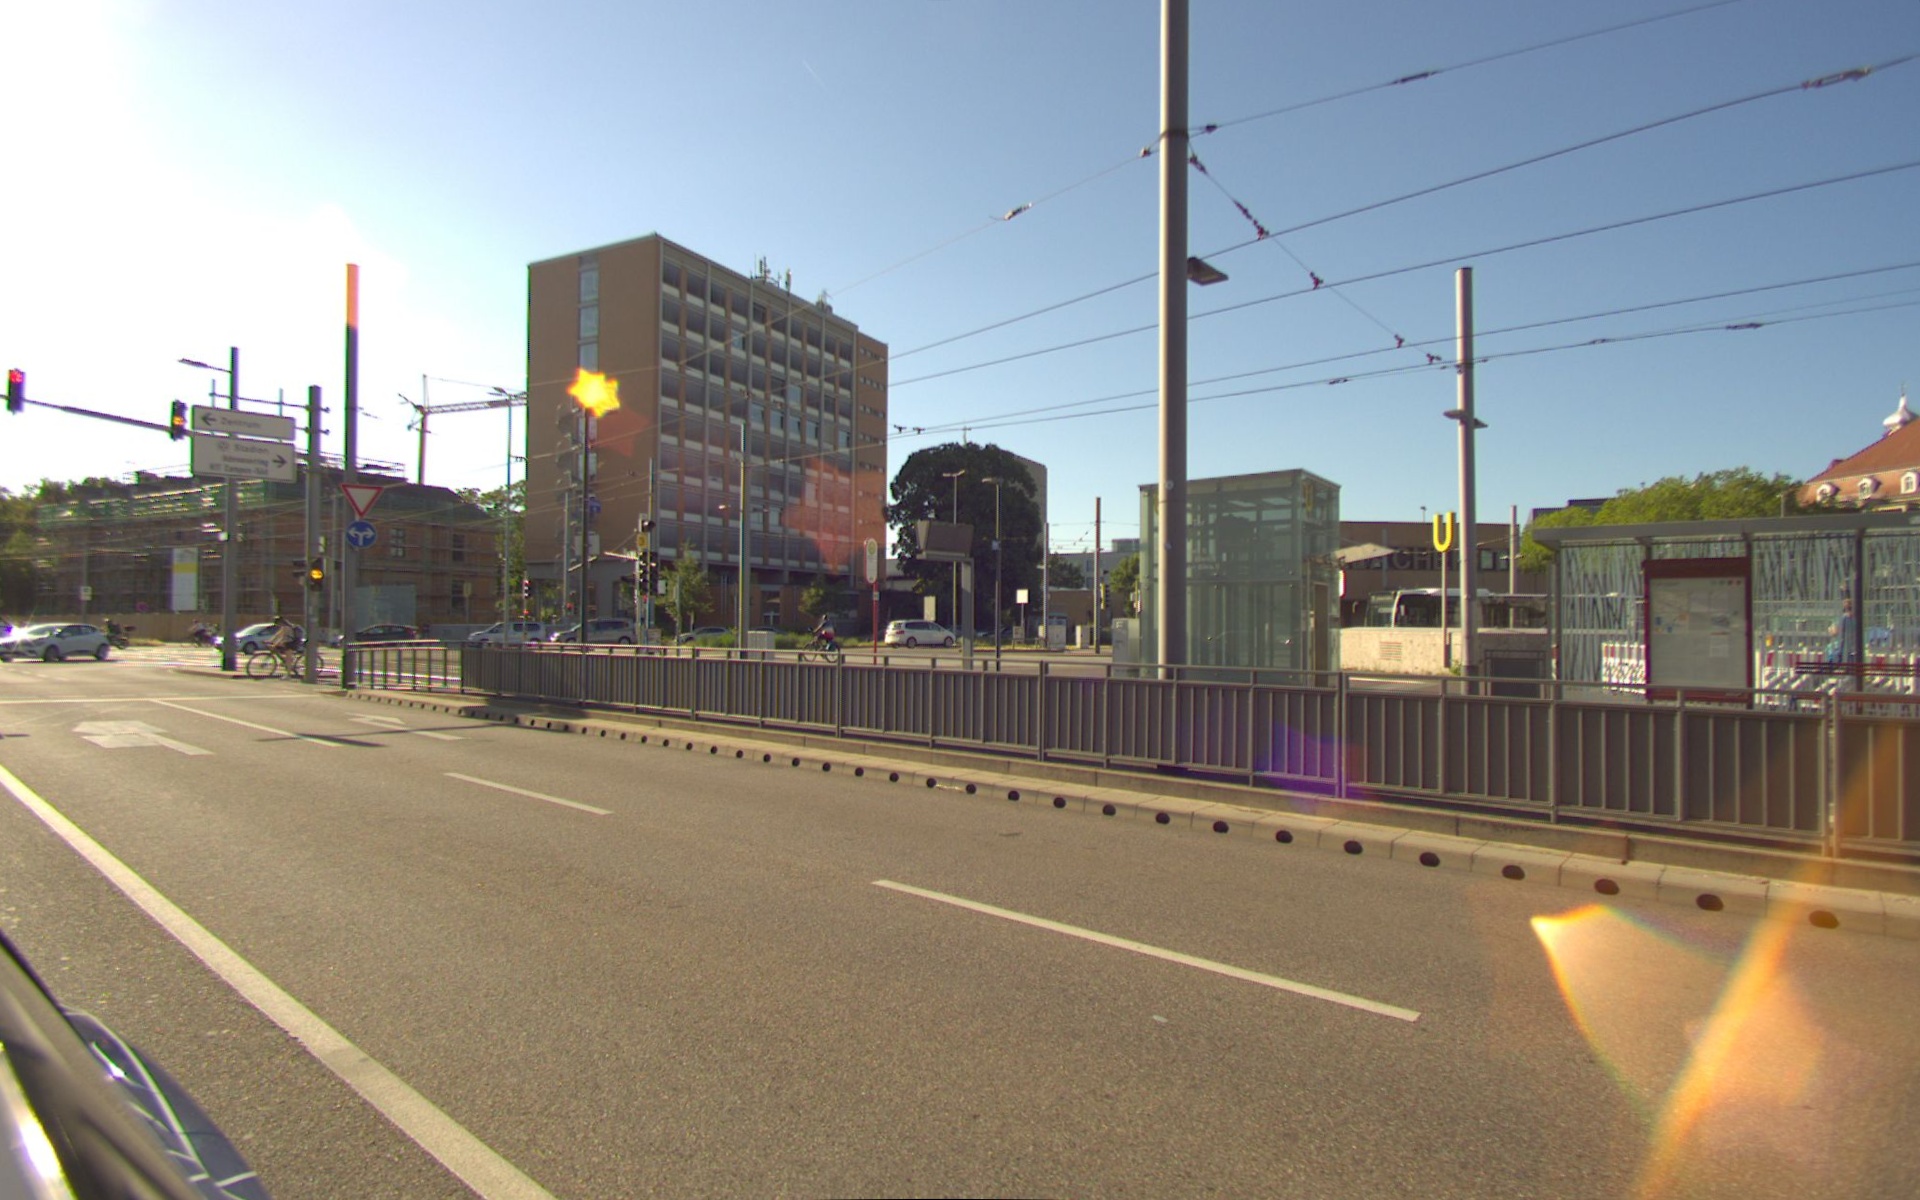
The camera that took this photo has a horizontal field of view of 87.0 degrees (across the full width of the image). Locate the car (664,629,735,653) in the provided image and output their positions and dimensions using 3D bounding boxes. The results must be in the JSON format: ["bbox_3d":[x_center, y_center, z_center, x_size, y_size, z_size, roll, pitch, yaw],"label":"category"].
[{"bbox_3d":[-19.010,3.015,73.869,4.628,1.697,2.005,2,-5,-34],"label":"car"}]

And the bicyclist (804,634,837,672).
[{"bbox_3d":[-5.231,1.986,37.913,0.897,1.354,0.808,-1,1,27],"label":"bicyclist"}]

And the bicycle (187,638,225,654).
[{"bbox_3d":[-49.157,2.984,65.986,1.847,0.977,0.714,2,0,-20],"label":"bicycle"}]

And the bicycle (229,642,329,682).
[{"bbox_3d":[-16.998,1.536,25.302,0.814,0.949,1.872,-1,-3,36],"label":"bicycle"}]

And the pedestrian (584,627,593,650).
[{"bbox_3d":[-27.371,2.844,74.602,0.496,1.648,0.428,3,-6,-42],"label":"pedestrian"}]

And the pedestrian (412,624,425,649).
[{"bbox_3d":[-38.655,2.607,72.226,0.612,1.752,0.666,1,-1,-7],"label":"pedestrian"}]

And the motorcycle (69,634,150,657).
[{"bbox_3d":[-46.496,2.496,55.399,3.177,1.204,1.121,1,-5,-28],"label":"motorcycle"}]

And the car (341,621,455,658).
[{"bbox_3d":[-32.622,2.299,58.815,5.668,2.029,2.006,1,-5,-31],"label":"car"}]

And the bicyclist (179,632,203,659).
[{"bbox_3d":[-48.295,2.840,63.535,0.999,1.599,0.696,2,0,-20],"label":"bicyclist"}]

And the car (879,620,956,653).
[{"bbox_3d":[-2.610,2.283,62.284,4.392,1.747,1.945,5,-6,-38],"label":"car"}]

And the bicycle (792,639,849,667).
[{"bbox_3d":[-5.230,1.986,37.918,1.992,0.949,0.808,0,1,27],"label":"bicycle"}]

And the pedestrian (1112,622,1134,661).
[{"bbox_3d":[7.422,1.901,46.035,0.724,1.699,1.048,-3,-5,23],"label":"pedestrian"}]

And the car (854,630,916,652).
[{"bbox_3d":[-6.044,3.367,82.098,4.628,1.697,2.005,2,-5,-35],"label":"car"}]

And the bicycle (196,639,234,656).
[{"bbox_3d":[-48.150,3.081,65.430,1.847,0.977,0.714,2,0,-22],"label":"bicycle"}]

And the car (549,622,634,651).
[{"bbox_3d":[-22.392,2.198,61.496,4.538,1.701,2.006,1,-2,-29],"label":"car"}]

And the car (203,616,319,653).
[{"bbox_3d":[-33.572,1.653,48.739,1.985,1.689,4.254,0,-2,20],"label":"car"}]

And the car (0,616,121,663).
[{"bbox_3d":[-34.744,1.480,38.682,1.970,1.689,4.287,0,-2,-5],"label":"car"}]

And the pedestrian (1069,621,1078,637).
[{"bbox_3d":[11.691,3.001,104.332,0.582,1.674,0.567,2,-5,-35],"label":"pedestrian"}]

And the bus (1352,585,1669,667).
[{"bbox_3d":[23.877,1.159,44.159,12.466,3.219,2.845,-1,-4,-5],"label":"bus"}]

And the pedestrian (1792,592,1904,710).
[{"bbox_3d":[13.964,0.815,15.956,1.179,1.782,0.793,-5,-6,40],"label":"pedestrian"}]

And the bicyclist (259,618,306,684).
[{"bbox_3d":[-16.960,1.272,25.344,0.814,1.628,0.668,-1,-3,36],"label":"bicyclist"}]

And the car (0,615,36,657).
[{"bbox_3d":[-41.273,1.457,42.115,1.971,1.697,4.000,-1,-4,-2],"label":"car"}]

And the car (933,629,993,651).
[{"bbox_3d":[0.272,3.340,83.380,4.628,1.697,2.005,2,-5,-35],"label":"car"}]

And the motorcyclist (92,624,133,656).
[{"bbox_3d":[-46.429,2.192,55.461,1.429,1.680,1.121,1,-5,-28],"label":"motorcyclist"}]

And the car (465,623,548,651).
[{"bbox_3d":[-28.801,2.369,64.341,4.626,1.697,2.006,1,-5,-31],"label":"car"}]

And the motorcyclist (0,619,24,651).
[{"bbox_3d":[-52.325,1.926,55.316,1.429,1.680,1.121,1,-5,-28],"label":"motorcyclist"}]

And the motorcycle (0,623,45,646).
[{"bbox_3d":[-52.308,1.878,55.326,3.177,1.204,1.121,1,-5,-28],"label":"motorcycle"}]

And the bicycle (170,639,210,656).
[{"bbox_3d":[-48.327,2.999,63.506,1.847,0.977,0.714,2,0,-21],"label":"bicycle"}]

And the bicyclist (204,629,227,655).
[{"bbox_3d":[-48.122,2.695,65.432,0.999,1.599,0.696,2,0,-21],"label":"bicyclist"}]

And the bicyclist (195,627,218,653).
[{"bbox_3d":[-49.136,2.597,65.994,0.999,1.599,0.696,2,0,-20],"label":"bicyclist"}]

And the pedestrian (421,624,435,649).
[{"bbox_3d":[-38.006,2.619,72.333,0.721,1.752,0.623,2,-1,-39],"label":"pedestrian"}]

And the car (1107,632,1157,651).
[{"bbox_3d":[16.257,3.920,95.352,4.631,1.697,2.004,2,-5,-38],"label":"car"}]
